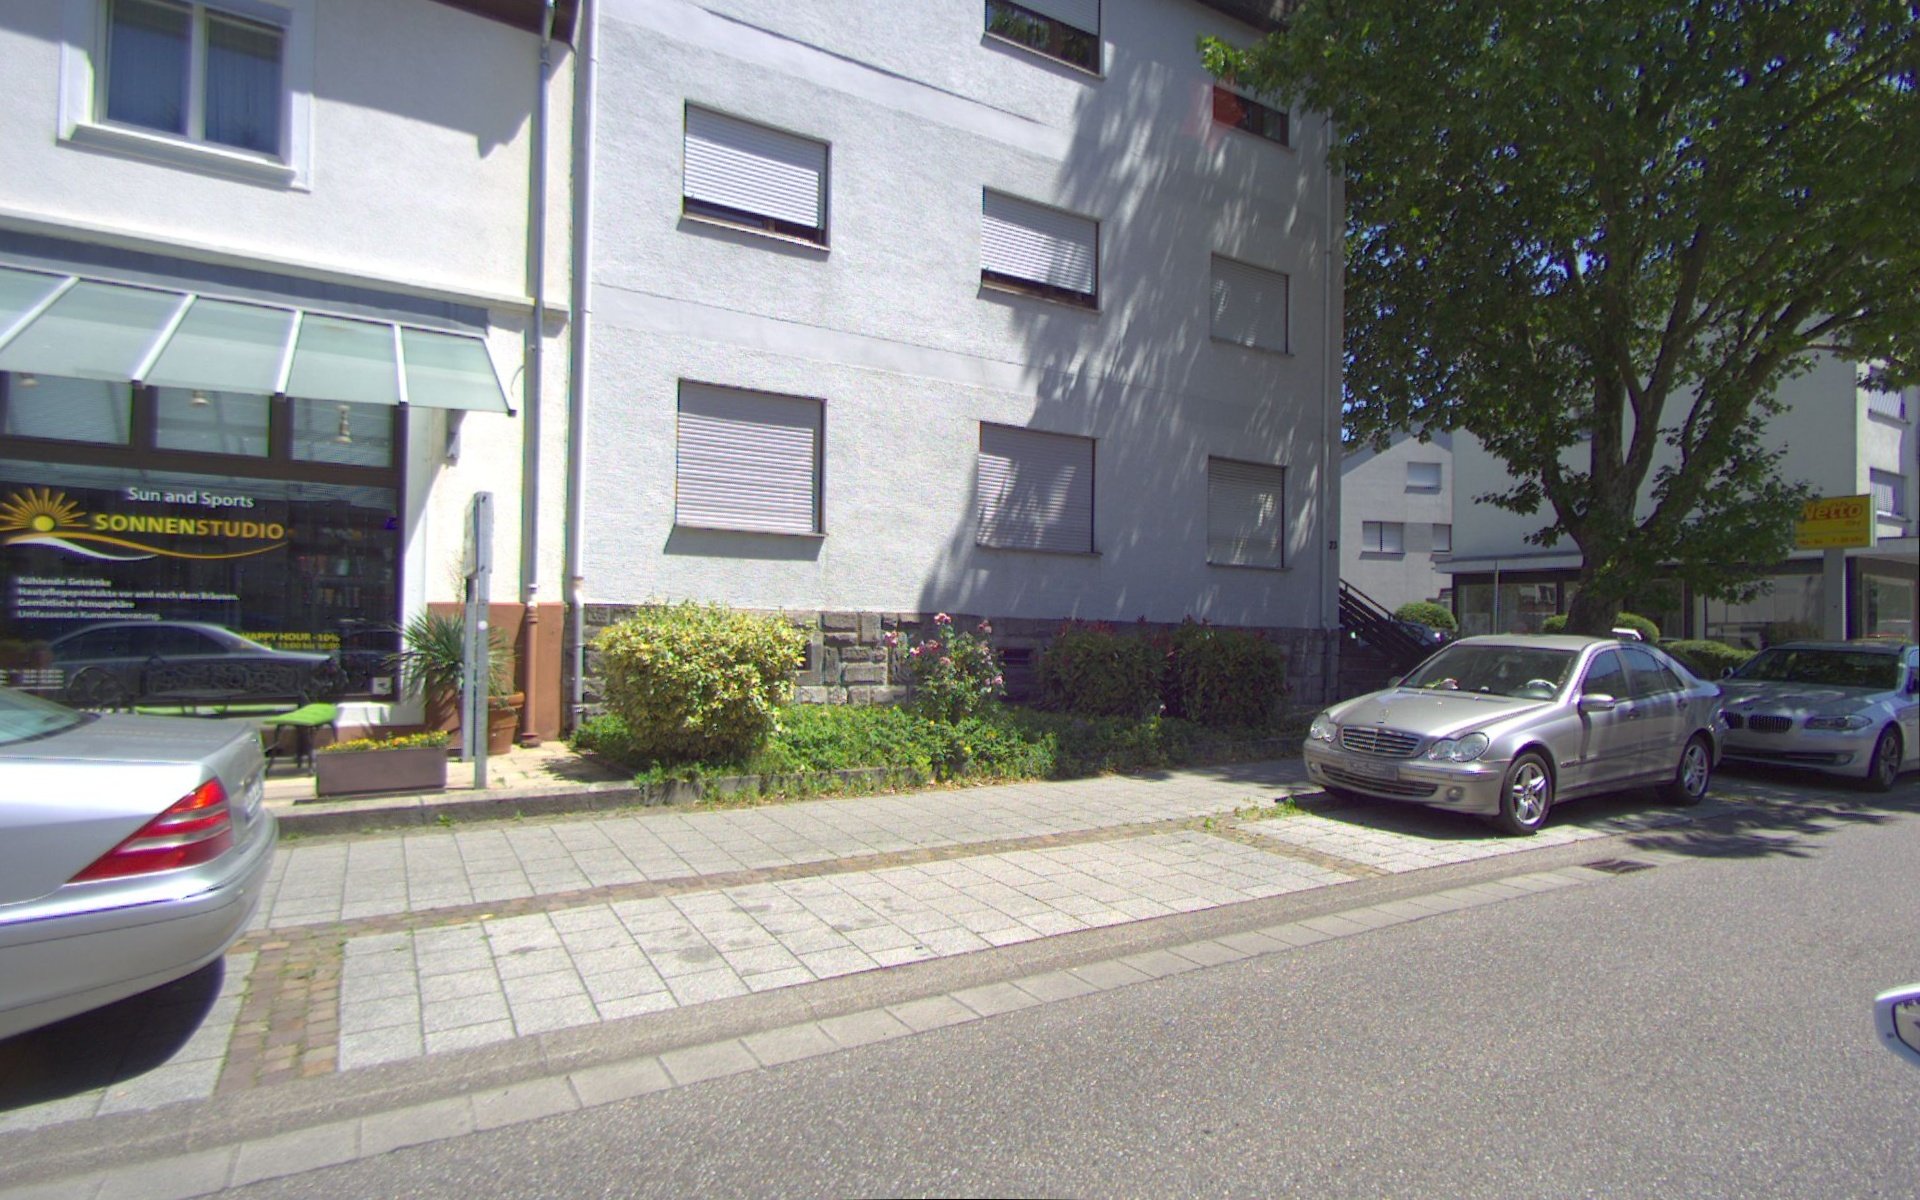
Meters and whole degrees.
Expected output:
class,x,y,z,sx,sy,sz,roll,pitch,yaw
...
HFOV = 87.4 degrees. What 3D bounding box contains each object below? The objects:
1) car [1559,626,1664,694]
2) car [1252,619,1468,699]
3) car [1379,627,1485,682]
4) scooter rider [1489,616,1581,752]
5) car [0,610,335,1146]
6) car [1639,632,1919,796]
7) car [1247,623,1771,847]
class,x,y,z,sx,sy,sz,roll,pitch,yaw
car,15.889,1.414,24.674,1.863,1.506,3.990,0,-2,29
car,8.409,1.228,21.179,4.040,1.565,1.805,1,-2,-18
car,13.756,1.564,29.200,1.726,1.481,3.909,-2,-3,42
scooter rider,7.089,1.007,12.386,0.867,1.596,0.585,1,1,-30
car,-4.831,0.744,2.655,5.295,1.471,1.971,1,-1,-31
car,10.135,1.143,11.551,5.093,1.471,1.970,1,-1,-32
car,4.962,0.977,8.864,4.814,1.471,1.970,1,-1,-32
